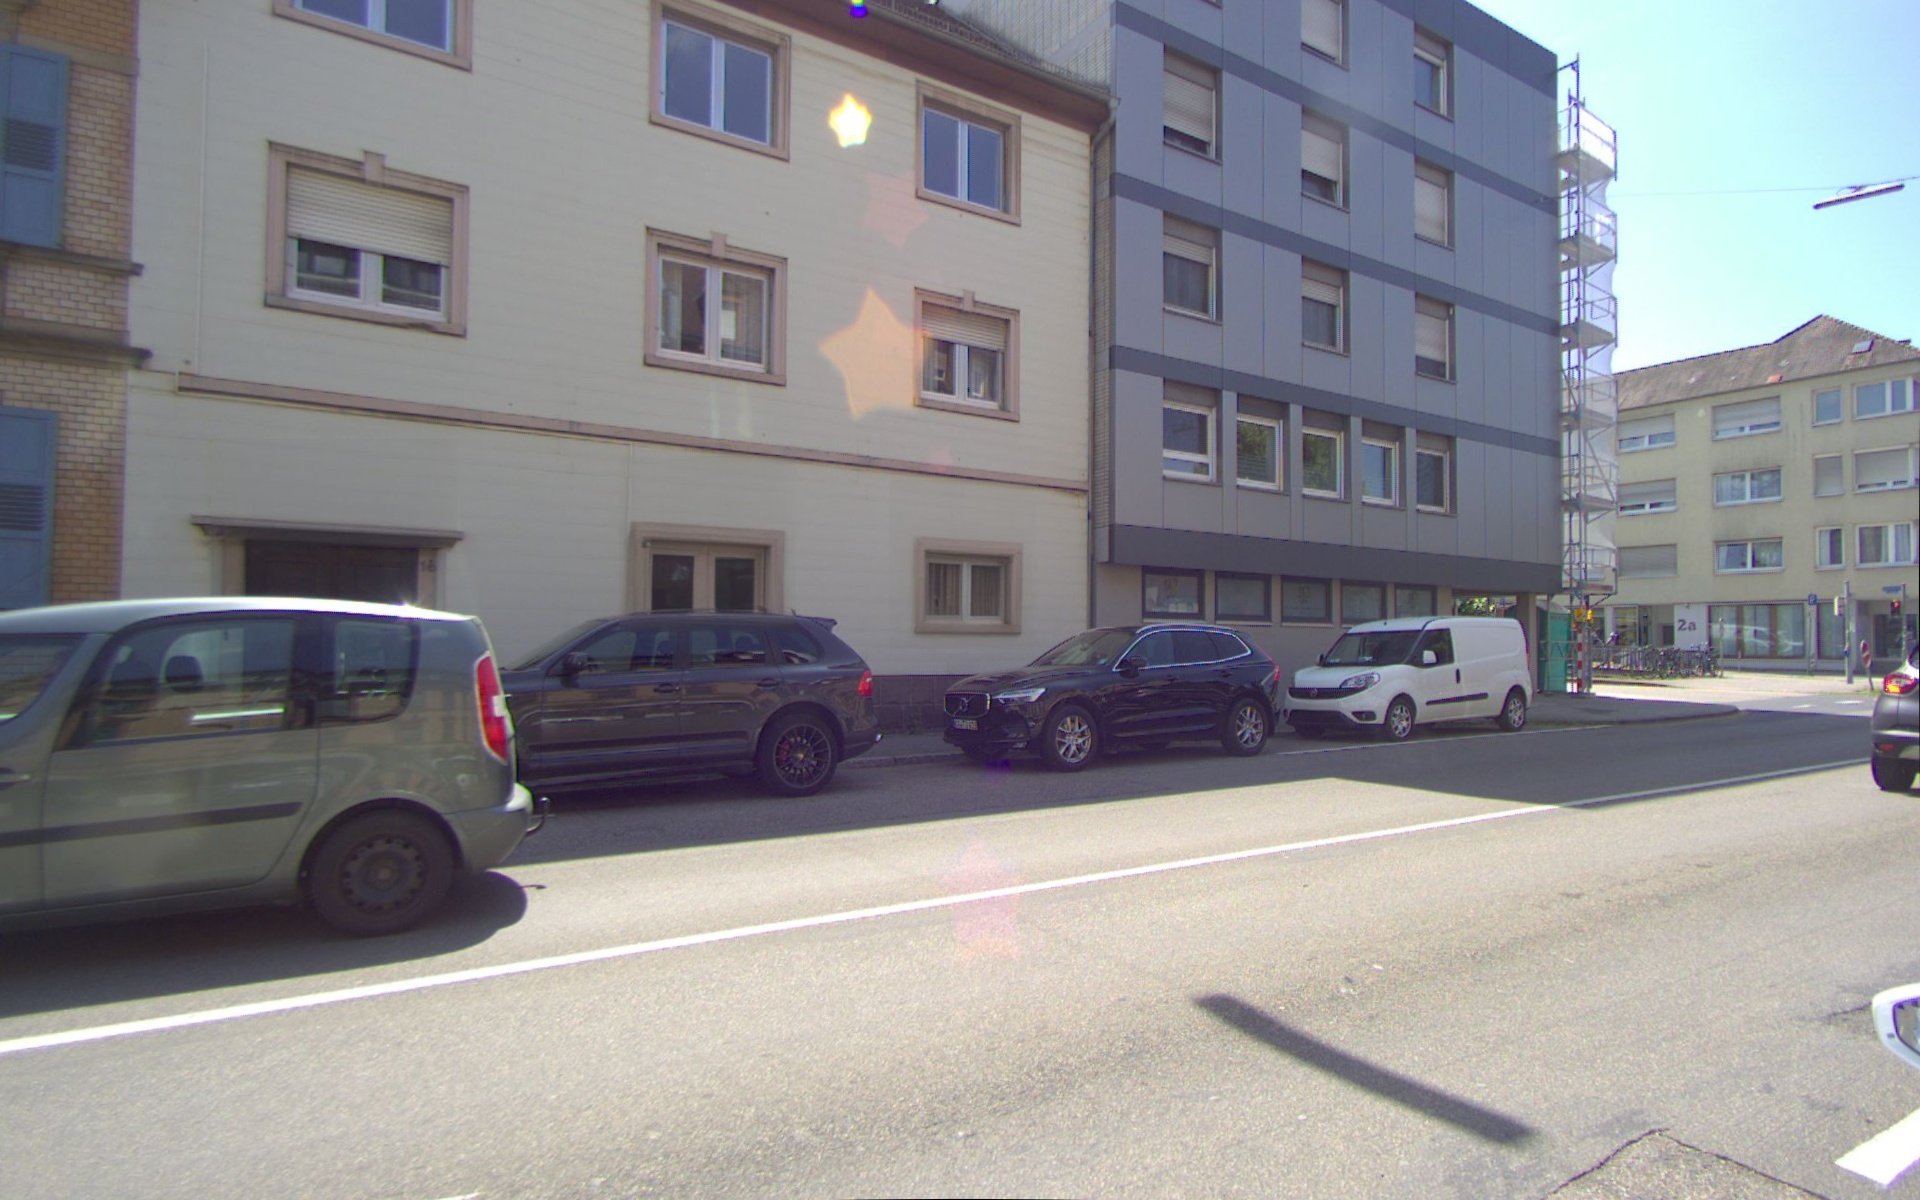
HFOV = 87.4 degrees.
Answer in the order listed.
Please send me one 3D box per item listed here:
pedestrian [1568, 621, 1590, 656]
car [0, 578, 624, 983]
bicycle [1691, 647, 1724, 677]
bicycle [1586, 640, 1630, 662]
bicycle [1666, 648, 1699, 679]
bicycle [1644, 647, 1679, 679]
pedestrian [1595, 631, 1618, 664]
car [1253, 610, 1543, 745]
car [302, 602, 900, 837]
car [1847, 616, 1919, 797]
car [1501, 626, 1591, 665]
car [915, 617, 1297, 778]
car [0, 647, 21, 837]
[{"bbox_3d":[29.989,1.869,48.668,0.641,1.654,0.682,2,-2,-31],"label":"pedestrian"},{"bbox_3d":[-4.003,0.756,4.842,4.263,1.595,1.693,2,-3,-31],"label":"car"},{"bbox_3d":[25.645,2.123,34.441,1.766,0.980,0.394,2,-2,-36],"label":"bicycle"},{"bbox_3d":[31.140,2.448,48.287,0.493,1.040,1.728,1,-2,-32],"label":"bicycle"},{"bbox_3d":[23.922,2.091,33.248,1.729,0.980,0.394,2,-2,-36],"label":"bicycle"},{"bbox_3d":[22.440,2.013,32.125,1.702,0.980,0.394,2,-2,-36],"label":"bicycle"},{"bbox_3d":[29.885,2.202,46.453,0.641,1.495,0.682,2,-2,-31],"label":"pedestrian"},{"bbox_3d":[7.000,1.186,15.902,4.737,1.849,1.903,2,-4,-33],"label":"car"},{"bbox_3d":[-3.083,0.966,9.177,4.763,1.662,1.876,2,-4,-31],"label":"car"},{"bbox_3d":[10.650,1.017,9.910,3.954,1.653,1.745,2,-1,-31],"label":"car"},{"bbox_3d":[26.900,2.067,46.281,1.959,1.686,4.333,0,-2,6],"label":"car"},{"bbox_3d":[1.890,1.129,12.430,4.613,1.662,1.874,2,-4,-33],"label":"car"},{"bbox_3d":[-8.943,0.946,5.830,4.788,1.424,1.854,2,-7,-34],"label":"car"}]
